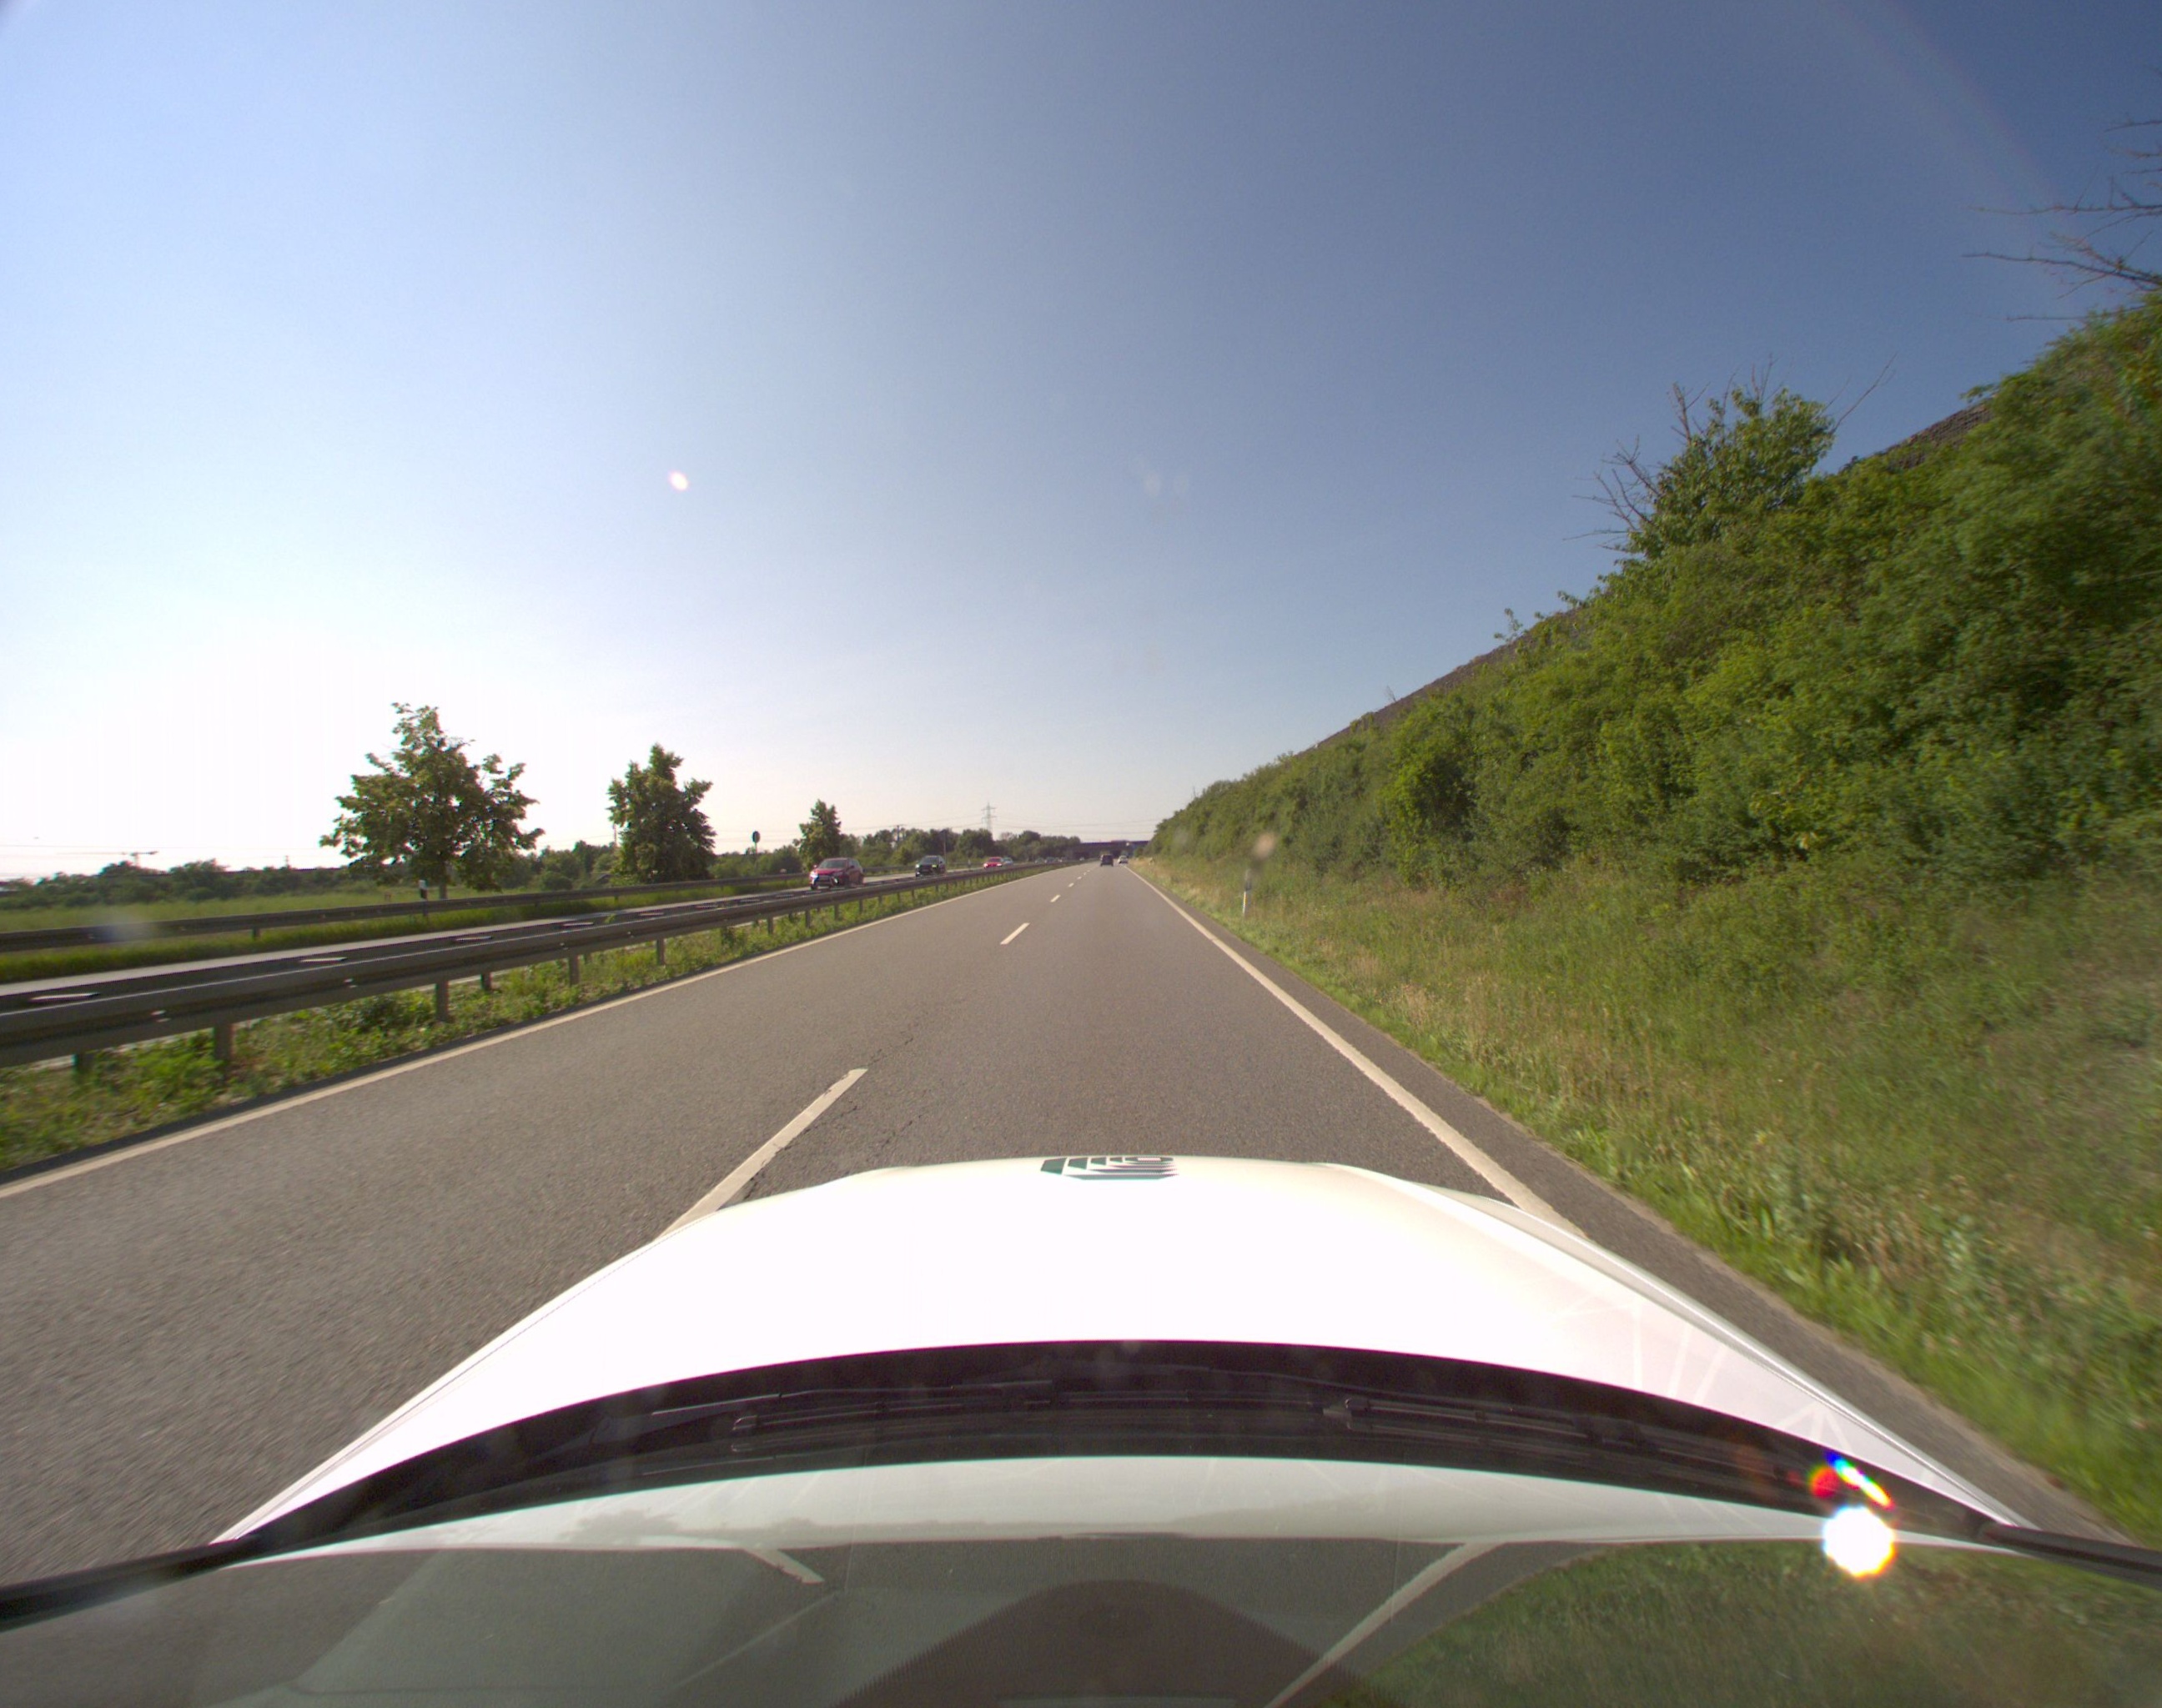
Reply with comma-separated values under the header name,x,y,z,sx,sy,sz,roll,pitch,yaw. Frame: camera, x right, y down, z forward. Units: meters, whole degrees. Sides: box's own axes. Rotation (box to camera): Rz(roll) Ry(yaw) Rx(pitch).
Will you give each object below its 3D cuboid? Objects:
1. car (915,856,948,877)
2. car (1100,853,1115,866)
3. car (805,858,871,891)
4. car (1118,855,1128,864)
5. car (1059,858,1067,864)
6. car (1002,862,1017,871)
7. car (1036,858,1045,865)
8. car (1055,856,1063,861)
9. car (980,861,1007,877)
name,x,y,z,sx,sy,sz,roll,pitch,yaw
car,-11.826,0.993,64.631,1.719,1.595,4.223,-1,0,2
car,3.668,0.765,111.569,1.841,1.644,4.005,-2,-1,5
car,-12.607,1.012,42.576,1.836,1.593,4.776,0,0,2
car,7.932,0.975,152.511,1.788,1.665,4.005,0,0,4
car,-4.405,1.750,204.448,1.808,1.473,4.325,0,0,2
car,-10.763,1.889,123.081,1.814,1.396,4.417,0,0,2
car,-8.799,1.686,176.996,1.707,1.450,4.323,-2,0,0
car,-6.399,1.338,236.940,1.808,1.473,4.325,0,0,2
car,-8.669,1.500,81.068,1.869,1.493,5.097,-1,0,2
